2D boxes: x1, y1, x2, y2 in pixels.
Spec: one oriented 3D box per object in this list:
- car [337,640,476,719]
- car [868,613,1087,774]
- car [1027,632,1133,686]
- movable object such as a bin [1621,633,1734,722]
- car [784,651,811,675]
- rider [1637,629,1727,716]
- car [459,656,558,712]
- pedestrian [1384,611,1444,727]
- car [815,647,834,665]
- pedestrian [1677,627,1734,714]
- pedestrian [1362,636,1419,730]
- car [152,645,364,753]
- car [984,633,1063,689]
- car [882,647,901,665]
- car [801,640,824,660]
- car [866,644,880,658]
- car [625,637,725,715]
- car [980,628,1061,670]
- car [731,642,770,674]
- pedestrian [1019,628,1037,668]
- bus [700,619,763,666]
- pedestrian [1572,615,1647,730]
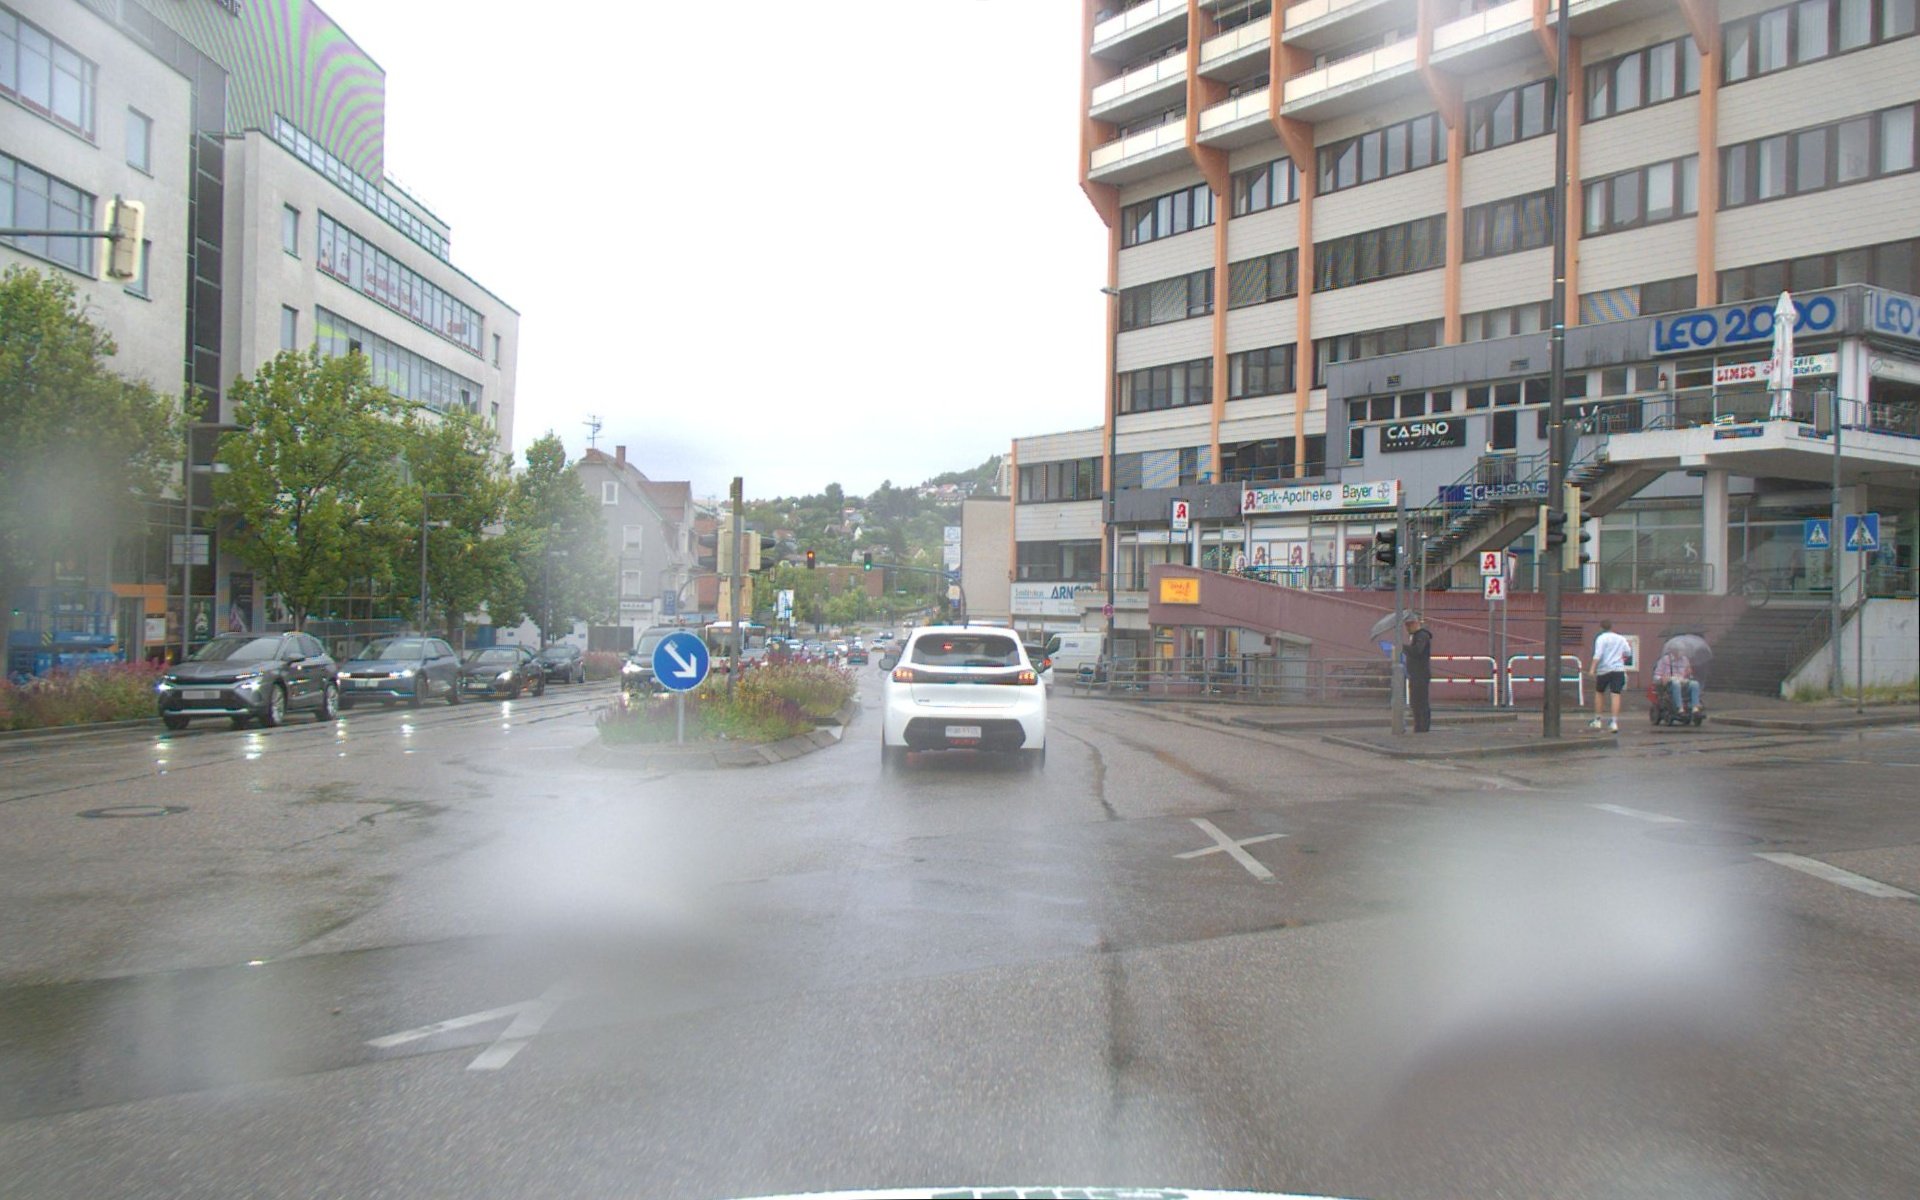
[{"bbox_3d":[-12.902,1.816,38.843,1.738,1.622,4.586,-3,-1,-1],"label":"car"},{"bbox_3d":[0.308,0.927,17.970,1.832,1.488,3.876,2,0,8],"label":"car"},{"bbox_3d":[5.299,2.599,73.598,1.979,2.265,4.909,1,-1,-37],"label":"car"},{"bbox_3d":[11.540,1.230,26.648,1.107,1.355,1.454,-2,-2,-2],"label":"movable object such as a bin"},{"bbox_3d":[-11.251,4.355,114.739,1.779,1.582,3.996,0,-1,-4],"label":"car"},{"bbox_3d":[11.548,1.146,26.484,0.904,1.307,1.090,-2,0,-2],"label":"rider"},{"bbox_3d":[-12.444,2.282,45.831,1.691,1.412,4.597,0,-1,-3],"label":"car"},{"bbox_3d":[6.525,0.980,23.794,0.693,1.635,0.656,0,0,1],"label":"pedestrian"},{"bbox_3d":[-13.008,5.361,158.802,1.711,1.582,3.997,0,-1,-3],"label":"car"},{"bbox_3d":[15.001,1.406,33.299,0.777,1.698,0.931,1,-1,5],"label":"pedestrian"},{"bbox_3d":[6.421,1.229,24.674,0.693,1.369,0.656,0,-1,1],"label":"pedestrian"},{"bbox_3d":[-12.306,1.674,29.325,1.838,1.622,4.522,-3,-1,-1],"label":"car"},{"bbox_3d":[1.719,1.659,45.827,1.873,1.425,3.455,1,-1,-3],"label":"car"},{"bbox_3d":[-6.533,5.318,157.529,1.711,1.582,3.997,0,-1,-3],"label":"car"},{"bbox_3d":[-12.021,4.055,135.226,1.711,1.582,3.997,0,-1,-3],"label":"car"},{"bbox_3d":[-10.800,6.305,205.611,1.711,1.582,3.997,0,-1,-3],"label":"car"},{"bbox_3d":[-7.270,1.956,42.584,1.954,1.856,4.295,-1,-3,-3],"label":"car"},{"bbox_3d":[2.872,2.314,79.062,1.868,1.912,4.086,1,-1,-34],"label":"car"},{"bbox_3d":[-11.073,3.033,87.524,1.856,1.582,3.996,0,-1,-4],"label":"car"},{"bbox_3d":[3.152,2.237,76.965,0.634,1.854,0.576,1,-2,-35],"label":"pedestrian"},{"bbox_3d":[-14.465,2.636,105.294,2.879,2.832,9.501,0,-1,-1],"label":"bus"},{"bbox_3d":[10.036,1.097,25.575,0.810,1.720,1.129,1,-1,7],"label":"pedestrian"}]
